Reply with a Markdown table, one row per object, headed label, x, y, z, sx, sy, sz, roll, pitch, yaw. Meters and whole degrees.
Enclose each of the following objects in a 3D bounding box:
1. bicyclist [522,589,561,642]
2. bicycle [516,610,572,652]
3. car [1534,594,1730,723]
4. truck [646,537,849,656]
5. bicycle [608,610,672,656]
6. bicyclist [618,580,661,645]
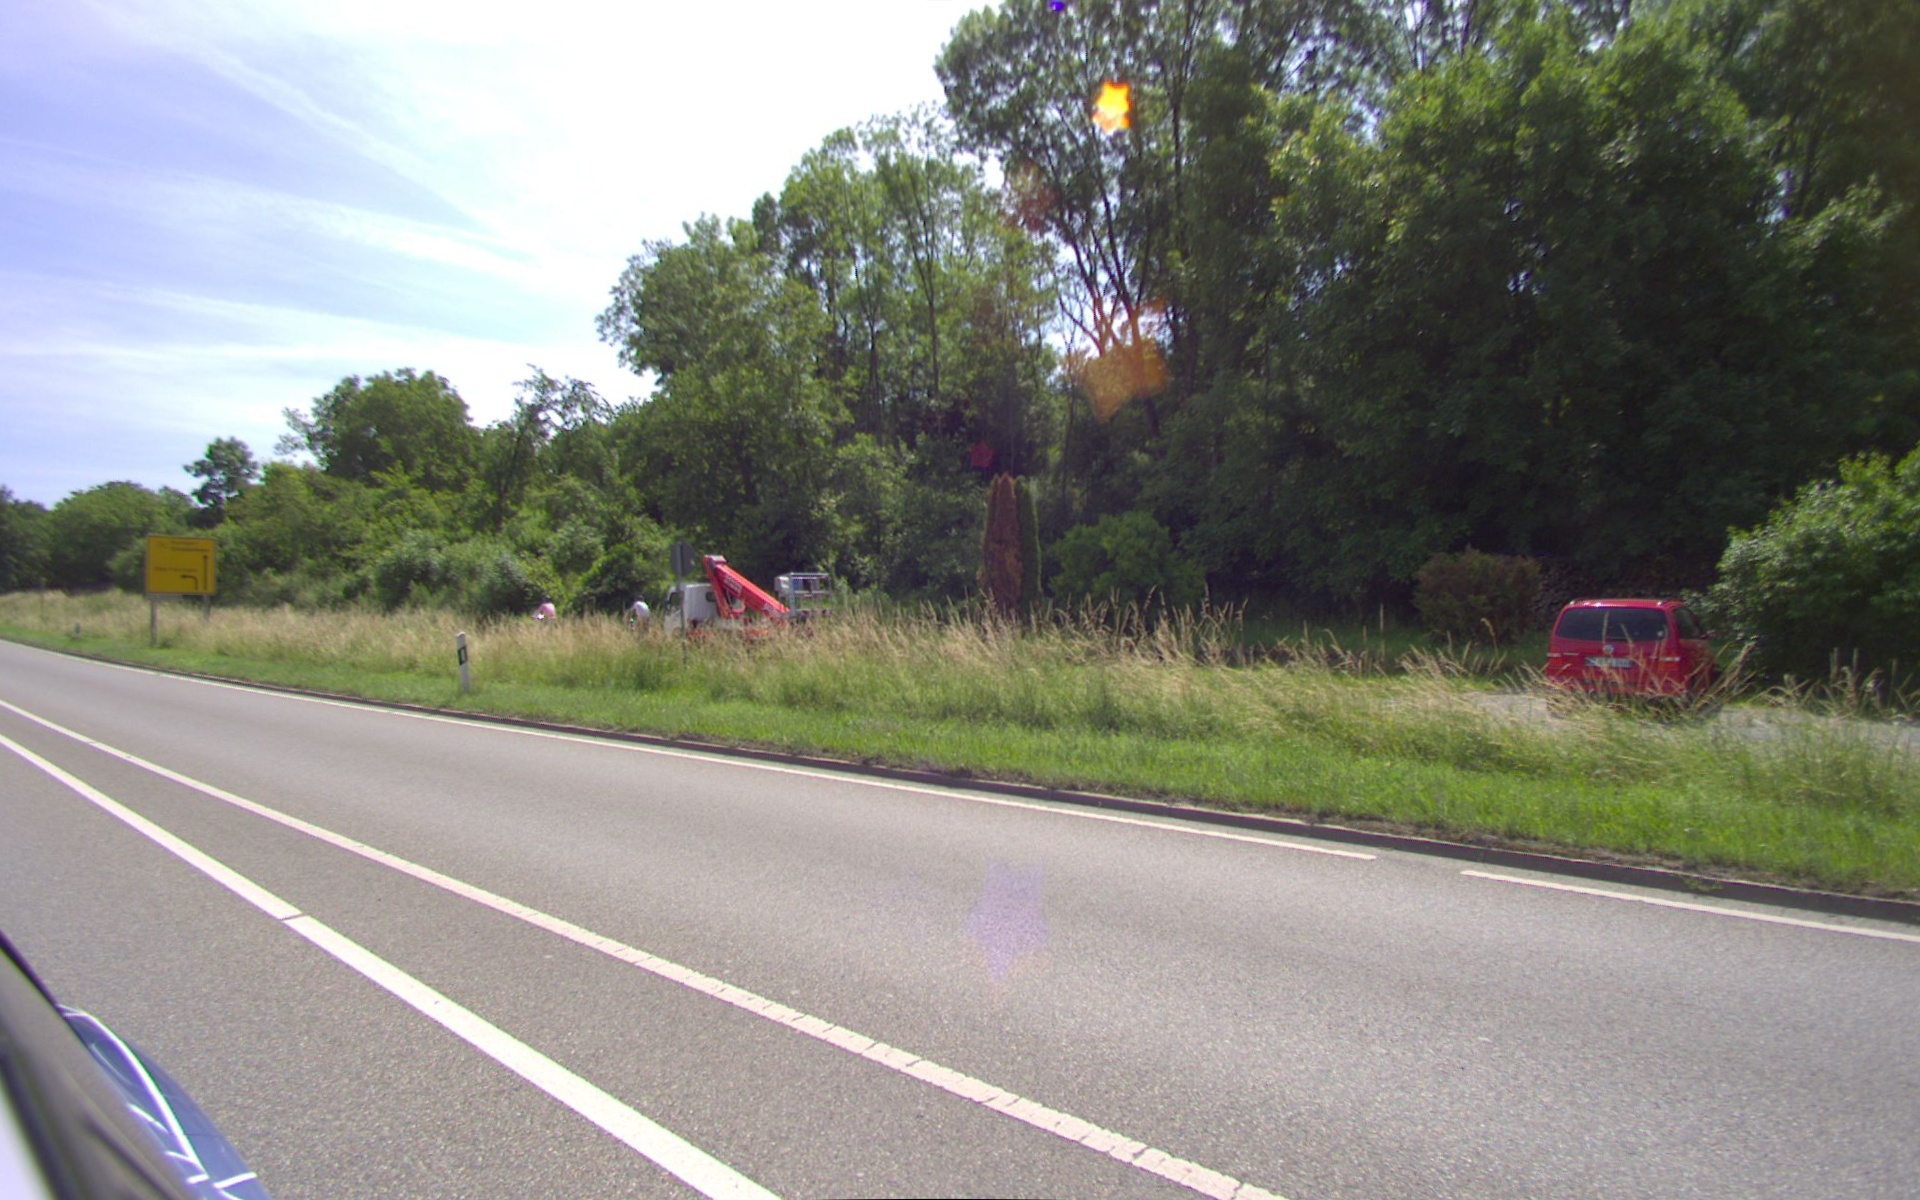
| label | x | y | z | sx | sy | sz | roll | pitch | yaw |
| --- | --- | --- | --- | --- | --- | --- | --- | --- | --- |
| bicyclist | -12.858 | 0.470 | 31.080 | 0.936 | 1.607 | 0.740 | -1 | 0 | 42 |
| bicycle | -12.772 | 0.927 | 31.026 | 2.104 | 1.221 | 0.740 | -1 | 0 | 42 |
| car | 10.091 | 0.749 | 15.069 | 1.833 | 1.631 | 3.984 | -1 | 0 | 42 |
| truck | -6.124 | -0.063 | 28.405 | 6.773 | 2.986 | 2.004 | -1 | 0 | 43 |
| bicycle | -8.742 | 0.885 | 27.591 | 2.105 | 1.189 | 0.740 | -1 | 0 | 44 |
| bicyclist | -8.736 | 0.333 | 27.572 | 0.936 | 1.727 | 0.739 | -1 | 0 | 44 |
